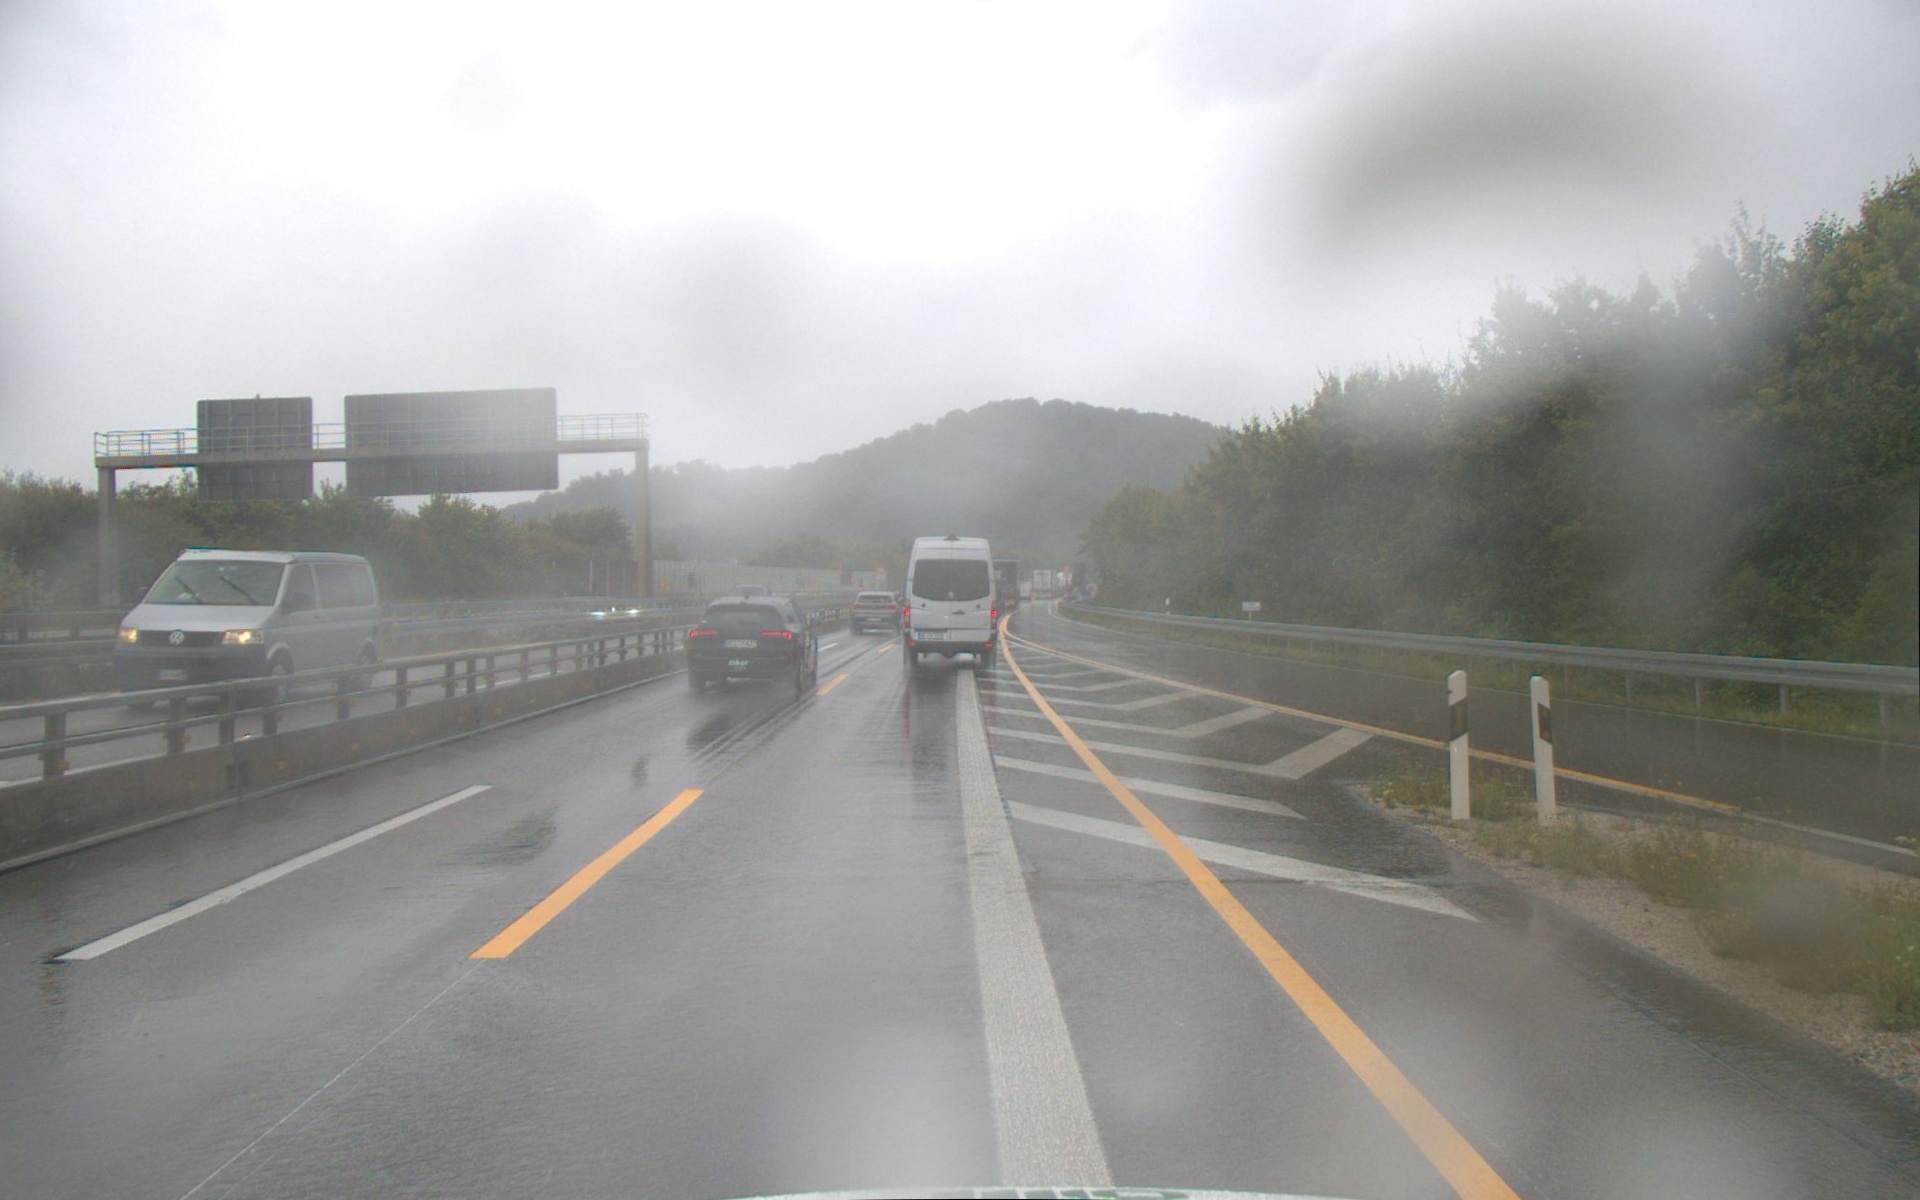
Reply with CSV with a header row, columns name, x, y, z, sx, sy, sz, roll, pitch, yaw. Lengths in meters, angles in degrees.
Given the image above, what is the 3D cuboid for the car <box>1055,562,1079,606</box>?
name,x,y,z,sx,sy,sz,roll,pitch,yaw
car,10.582,-1.571,163.763,2.015,4.265,6.747,0,0,1

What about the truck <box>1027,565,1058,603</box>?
name,x,y,z,sx,sy,sz,roll,pitch,yaw
truck,11.278,-2.104,225.058,3.846,4.868,9.911,1,-1,4

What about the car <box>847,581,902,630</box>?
name,x,y,z,sx,sy,sz,roll,pitch,yaw
car,-3.083,0.206,60.025,1.829,1.688,3.987,0,0,-1

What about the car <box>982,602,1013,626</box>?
name,x,y,z,sx,sy,sz,roll,pitch,yaw
car,2.044,0.759,90.896,1.357,1.278,3.119,0,0,-5

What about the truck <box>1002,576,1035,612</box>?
name,x,y,z,sx,sy,sz,roll,pitch,yaw
truck,6.518,-0.632,185.742,3.253,3.827,9.904,1,-1,-1

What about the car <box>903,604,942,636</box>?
name,x,y,z,sx,sy,sz,roll,pitch,yaw
car,-1.801,0.944,80.351,1.814,1.527,3.999,0,0,-1

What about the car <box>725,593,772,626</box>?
name,x,y,z,sx,sy,sz,roll,pitch,yaw
car,-9.080,0.418,71.128,1.598,1.374,3.654,0,0,-1

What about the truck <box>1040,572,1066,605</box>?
name,x,y,z,sx,sy,sz,roll,pitch,yaw
truck,14.857,-1.805,263.348,3.846,4.868,9.911,1,-1,4

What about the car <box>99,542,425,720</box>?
name,x,y,z,sx,sy,sz,roll,pitch,yaw
car,-9.149,0.391,22.373,1.869,2.049,5.828,1,-1,0

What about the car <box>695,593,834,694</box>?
name,x,y,z,sx,sy,sz,roll,pitch,yaw
car,-3.064,0.655,26.801,1.900,1.452,4.757,1,0,-3

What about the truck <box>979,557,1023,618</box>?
name,x,y,z,sx,sy,sz,roll,pitch,yaw
truck,3.442,-0.989,140.729,3.253,4.868,9.904,1,-1,-1

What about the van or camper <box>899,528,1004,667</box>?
name,x,y,z,sx,sy,sz,roll,pitch,yaw
van or camper,-0.175,-0.044,35.301,2.095,2.769,4.648,0,0,0
